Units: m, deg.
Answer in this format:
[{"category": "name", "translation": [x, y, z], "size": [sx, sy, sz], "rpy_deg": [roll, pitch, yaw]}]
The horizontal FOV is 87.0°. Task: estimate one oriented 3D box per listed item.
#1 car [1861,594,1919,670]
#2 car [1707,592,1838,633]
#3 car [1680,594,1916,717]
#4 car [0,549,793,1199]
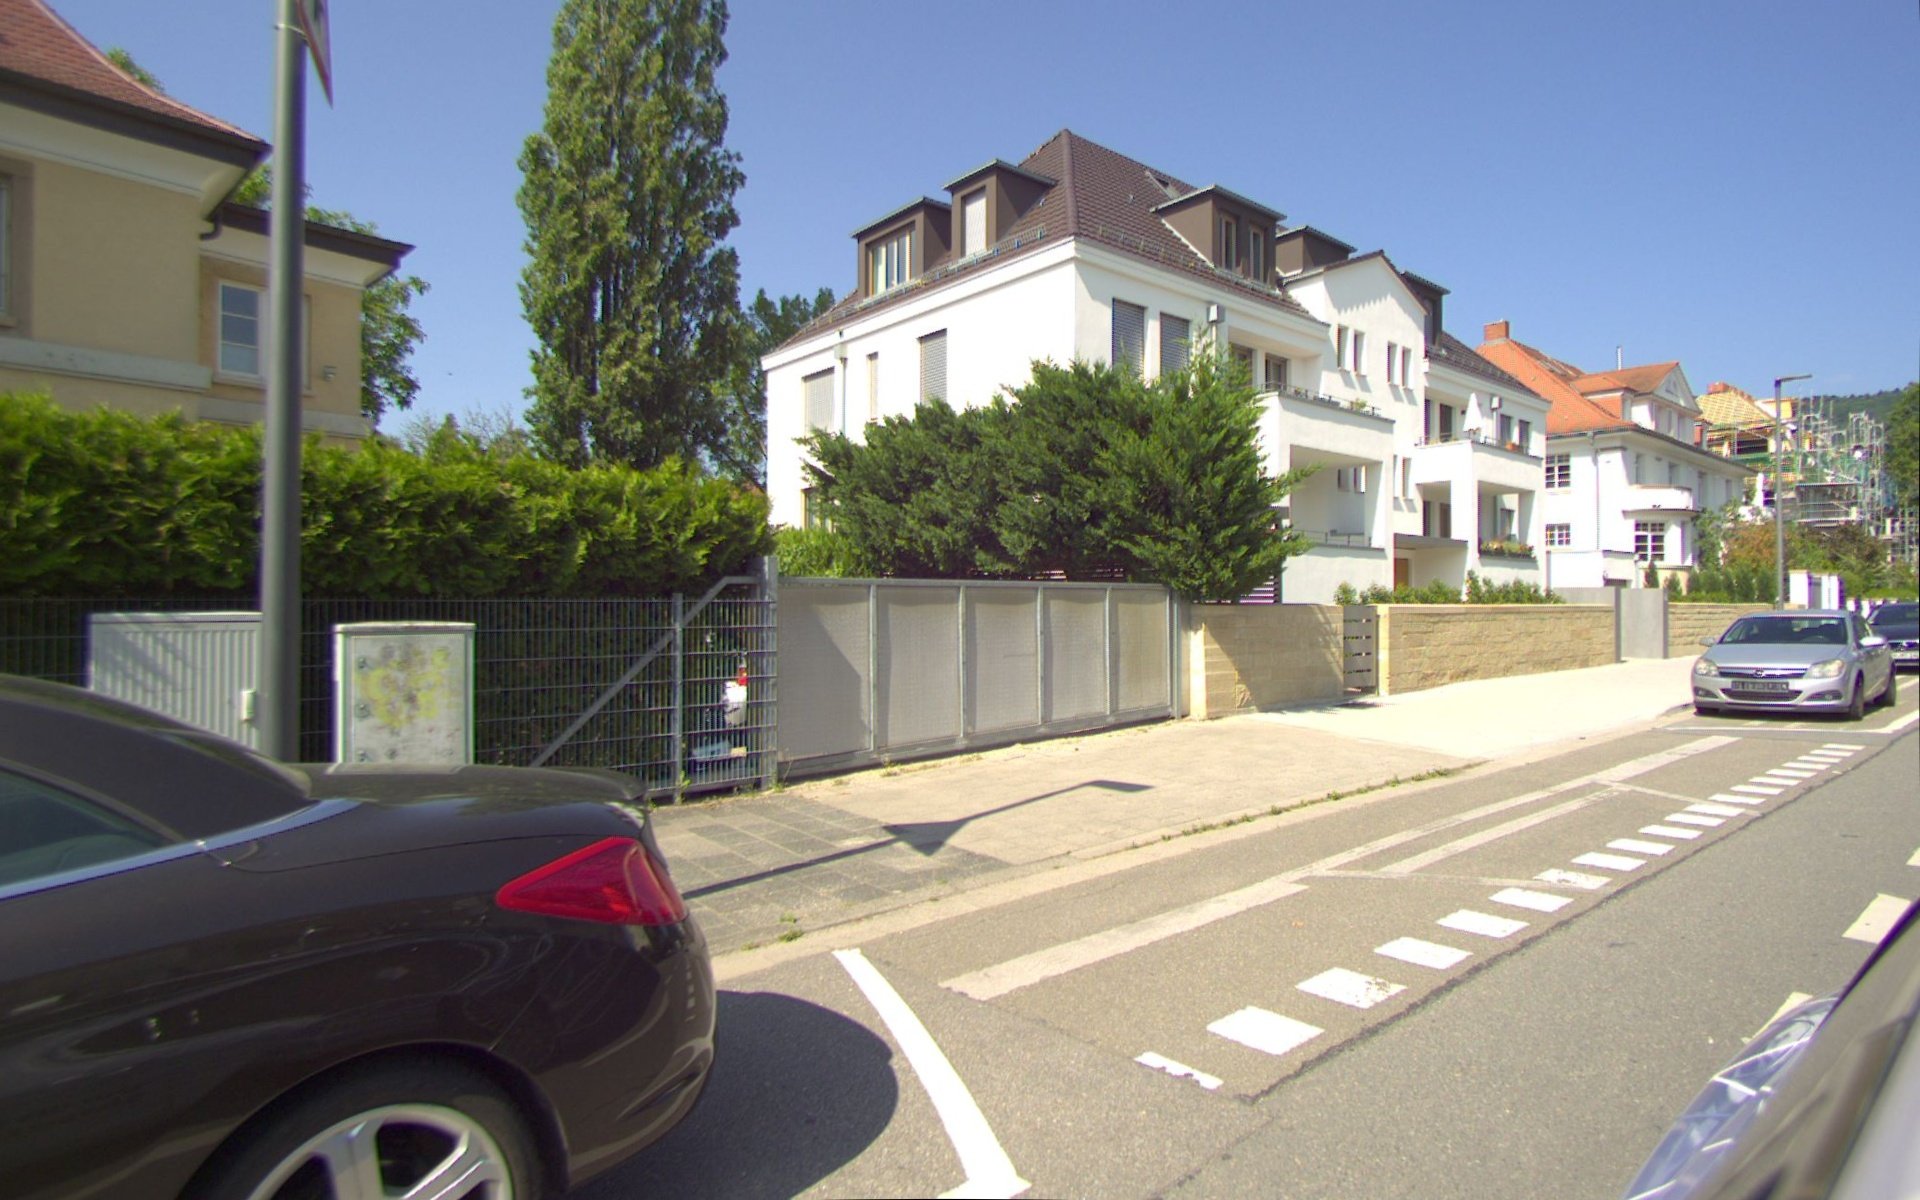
[{"category": "car", "translation": [20.453, 0.613, 21.268], "size": [4.097, 1.468, 1.724], "rpy_deg": [-1, -3, -42]}, {"category": "car", "translation": [35.048, 0.572, 43.725], "size": [1.673, 1.603, 4.166], "rpy_deg": [0, -3, -42]}, {"category": "car", "translation": [11.491, 0.687, 13.790], "size": [4.005, 1.346, 1.739], "rpy_deg": [-2, -2, -41]}, {"category": "car", "translation": [-2.583, 0.739, 1.582], "size": [4.271, 1.487, 1.738], "rpy_deg": [-2, -2, -41]}]
